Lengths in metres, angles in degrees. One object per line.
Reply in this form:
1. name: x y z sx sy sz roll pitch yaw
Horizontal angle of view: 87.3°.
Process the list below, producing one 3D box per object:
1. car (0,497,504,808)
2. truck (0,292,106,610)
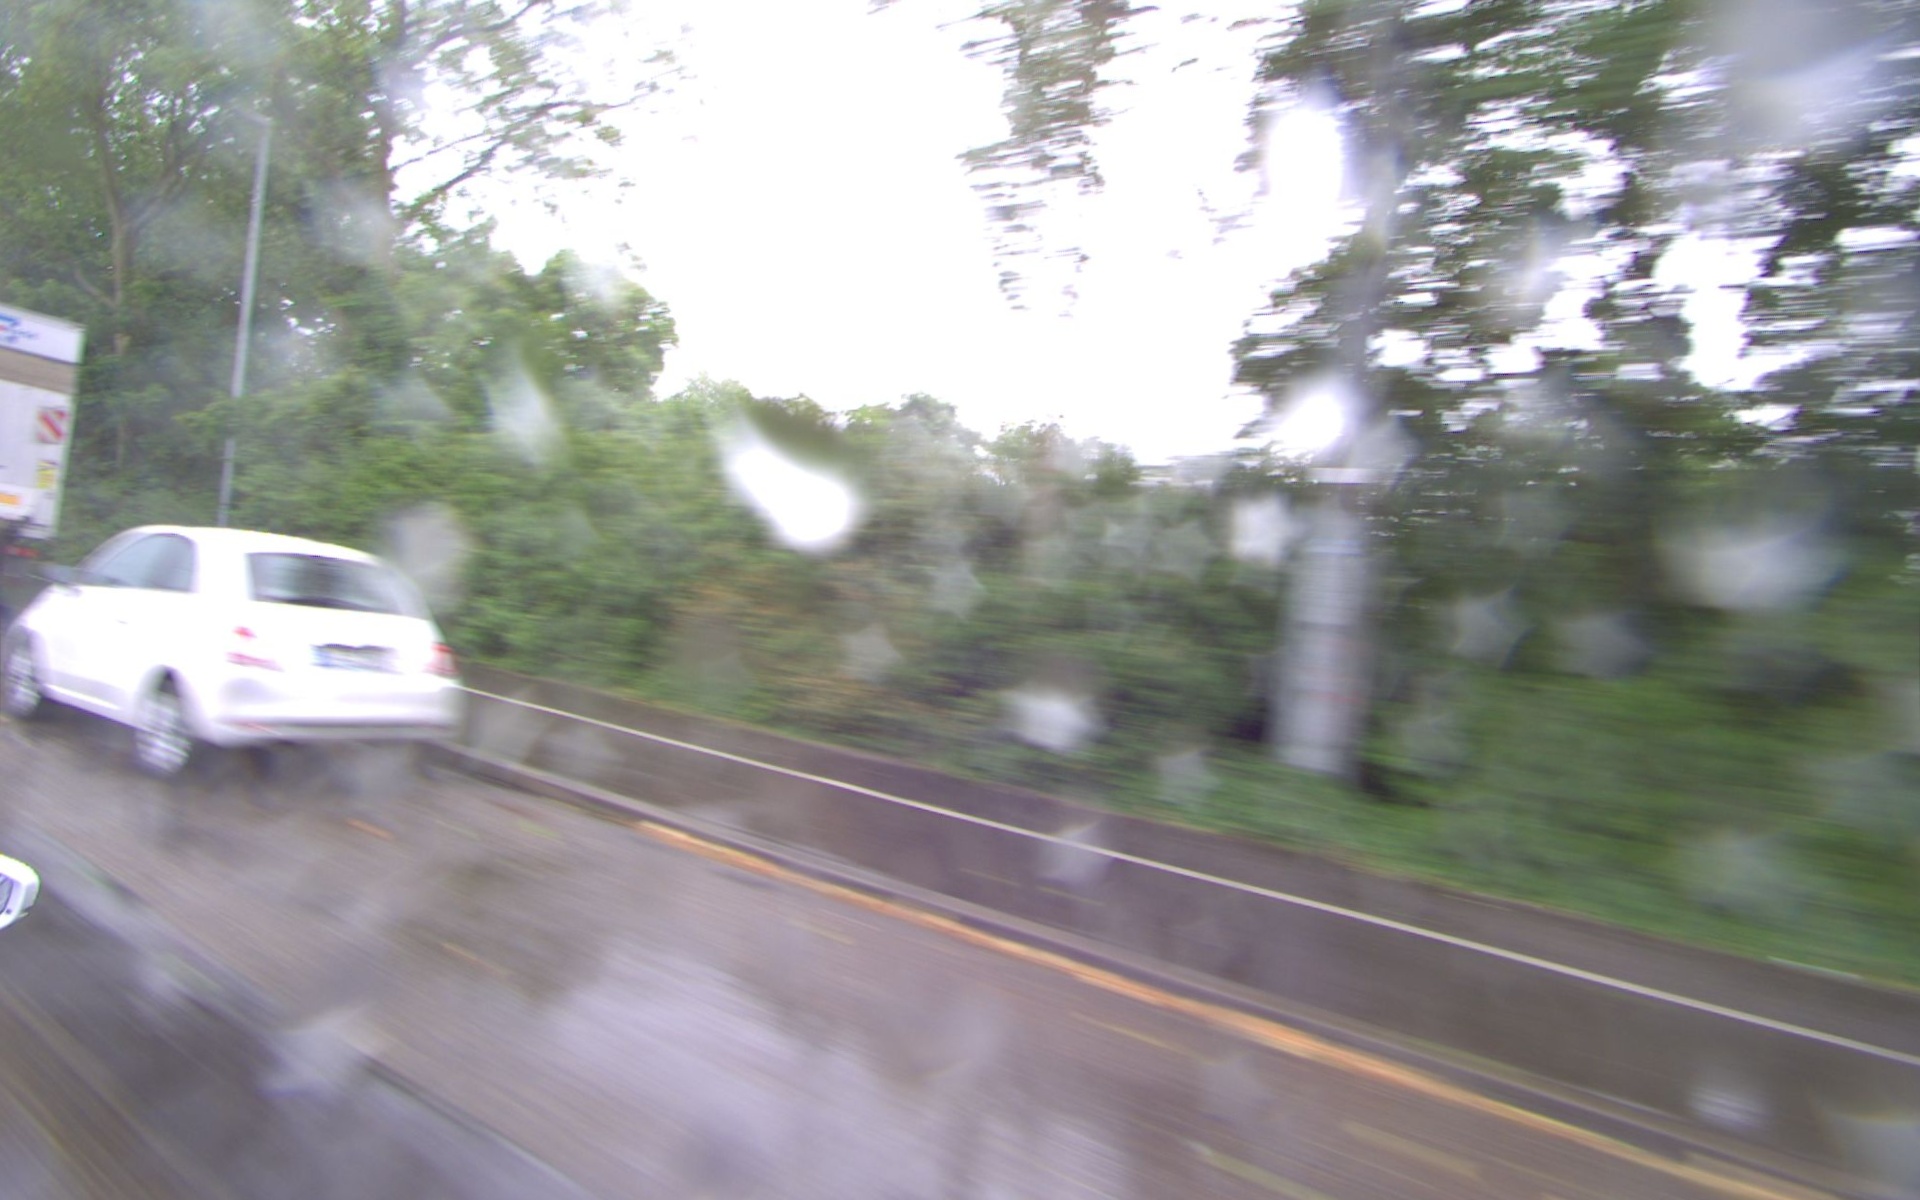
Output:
1. car: -5.334 0.243 7.250 3.934 1.547 1.716 7 -1 32
2. truck: -16.023 -2.287 14.183 9.686 3.748 2.781 6 -1 30
